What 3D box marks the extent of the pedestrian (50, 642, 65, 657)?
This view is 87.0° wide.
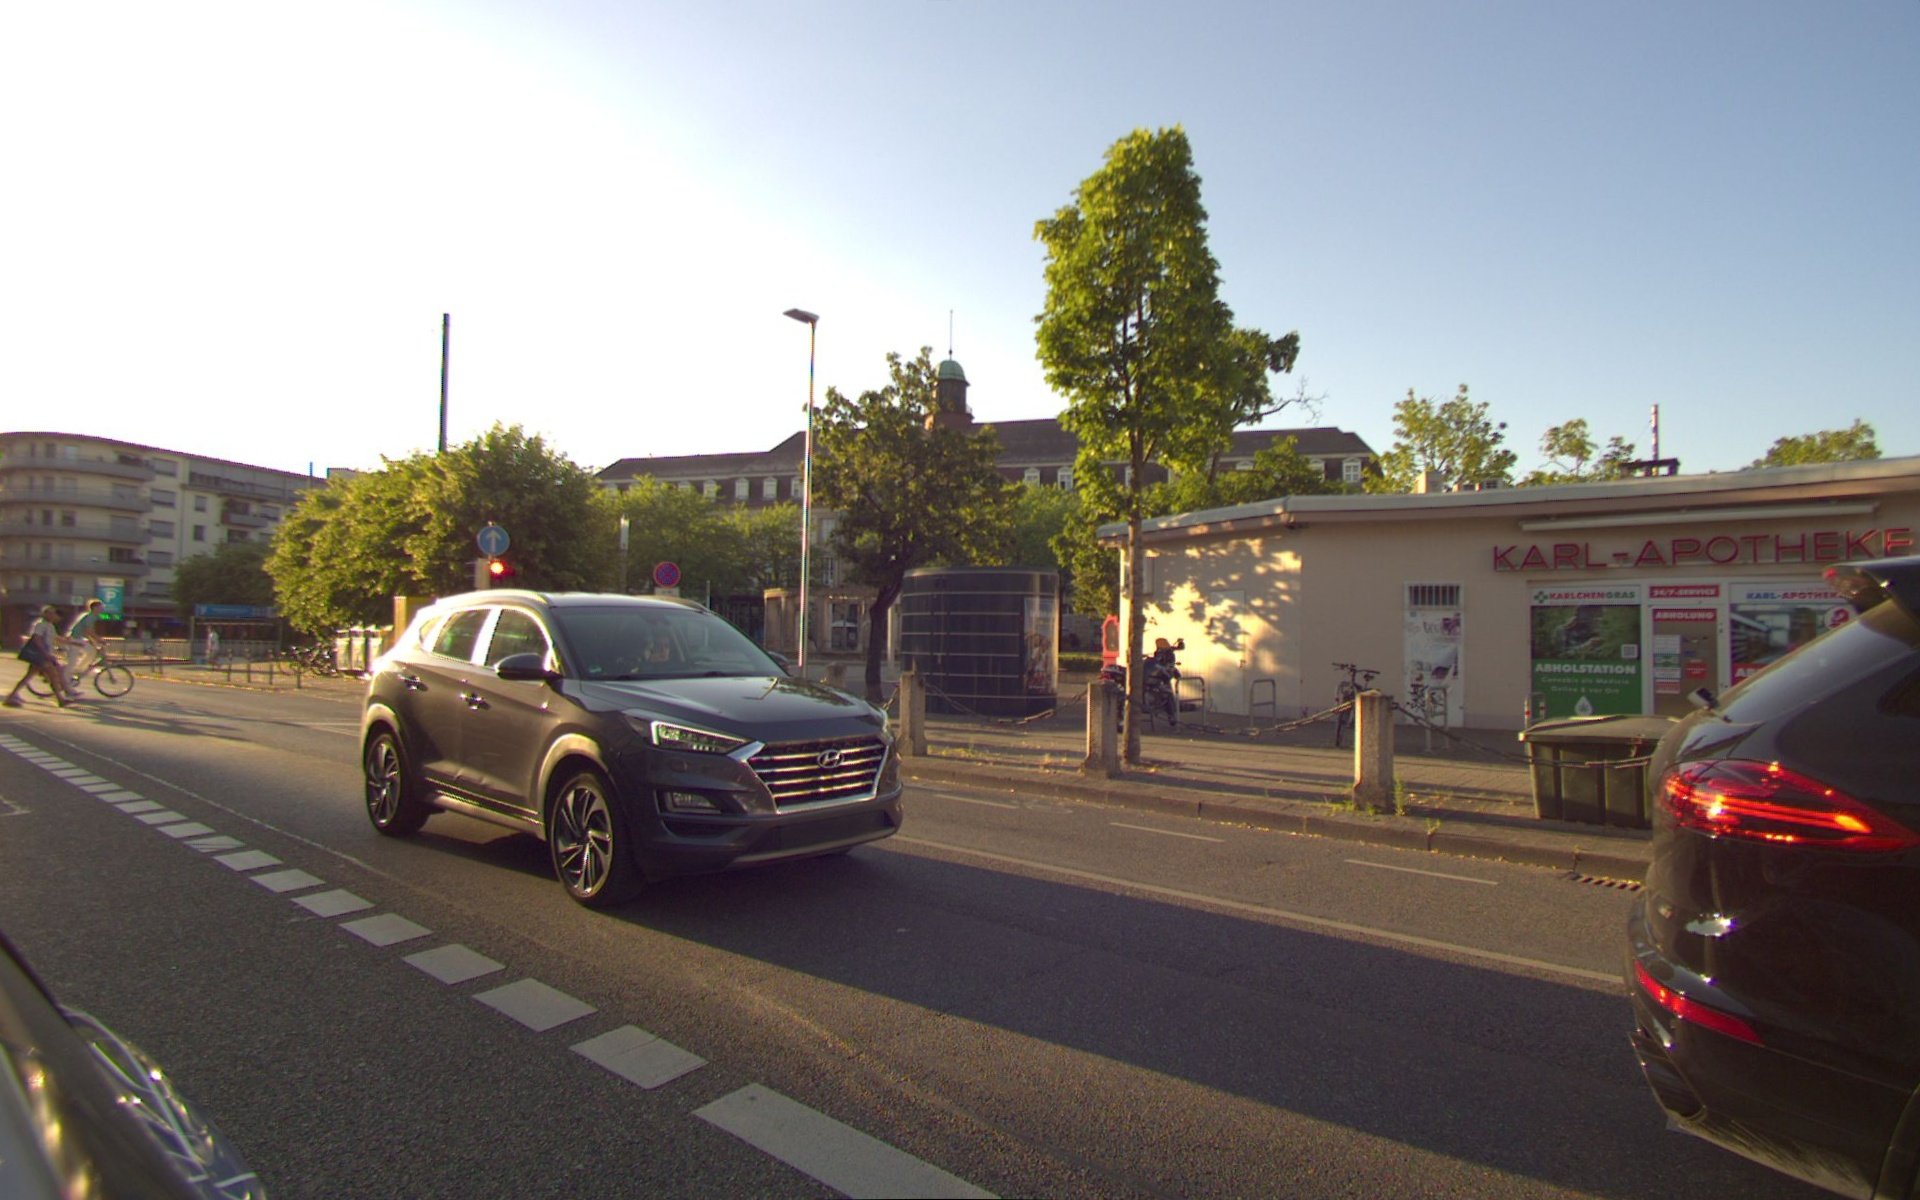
[{"bbox_3d":[-74.846,4.097,83.945,0.875,1.201,0.734,2,-4,-40],"label":"pedestrian"}]

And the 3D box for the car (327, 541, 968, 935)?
[{"bbox_3d":[-2.243,0.706,6.563,4.446,1.702,1.853,-2,-5,40],"label":"car"}]

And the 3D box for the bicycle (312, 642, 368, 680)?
[{"bbox_3d":[-21.143,2.066,34.533,0.444,1.262,1.571,-2,-2,38],"label":"bicycle"}]

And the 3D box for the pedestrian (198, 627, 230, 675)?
[{"bbox_3d":[-28.869,1.965,39.173,0.937,1.831,0.828,3,-4,-36],"label":"pedestrian"}]

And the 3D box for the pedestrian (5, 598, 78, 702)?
[{"bbox_3d":[-17.334,0.943,19.116,0.926,1.912,0.827,3,-4,-42],"label":"pedestrian"}]

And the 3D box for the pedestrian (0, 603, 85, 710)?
[{"bbox_3d":[-16.034,0.981,17.645,1.084,1.788,0.827,3,-4,-42],"label":"pedestrian"}]

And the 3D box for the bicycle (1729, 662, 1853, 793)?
[{"bbox_3d":[9.091,1.319,11.053,0.949,1.266,1.984,-2,-4,41],"label":"bicycle"}]

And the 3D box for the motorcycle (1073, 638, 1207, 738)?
[{"bbox_3d":[2.864,1.343,15.851,0.868,1.440,2.554,-2,-4,41],"label":"motorcycle"}]

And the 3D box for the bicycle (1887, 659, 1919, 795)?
[{"bbox_3d":[9.944,1.240,10.210,0.787,1.266,2.418,-2,-4,41],"label":"bicycle"}]

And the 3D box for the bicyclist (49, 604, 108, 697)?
[{"bbox_3d":[-18.088,1.034,20.768,0.823,1.840,0.832,3,-4,-42],"label":"bicyclist"}]

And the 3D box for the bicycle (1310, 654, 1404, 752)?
[{"bbox_3d":[5.522,1.386,14.023,0.632,1.266,1.834,-2,-4,41],"label":"bicycle"}]

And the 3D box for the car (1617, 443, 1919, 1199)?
[{"bbox_3d":[3.725,0.580,1.357,4.558,1.727,1.929,-2,-4,40],"label":"car"}]

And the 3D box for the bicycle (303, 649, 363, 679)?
[{"bbox_3d":[-21.507,2.178,34.728,0.548,0.986,1.658,-2,-2,36],"label":"bicycle"}]

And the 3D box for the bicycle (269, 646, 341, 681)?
[{"bbox_3d":[-22.447,2.150,34.698,0.548,1.143,2.007,-2,-2,36],"label":"bicycle"}]

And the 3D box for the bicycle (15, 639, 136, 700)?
[{"bbox_3d":[-18.082,1.411,20.742,1.797,1.195,0.794,3,-4,-41],"label":"bicycle"}]

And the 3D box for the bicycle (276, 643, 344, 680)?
[{"bbox_3d":[-23.306,2.184,36.331,0.548,1.262,2.007,-2,-2,36],"label":"bicycle"}]
